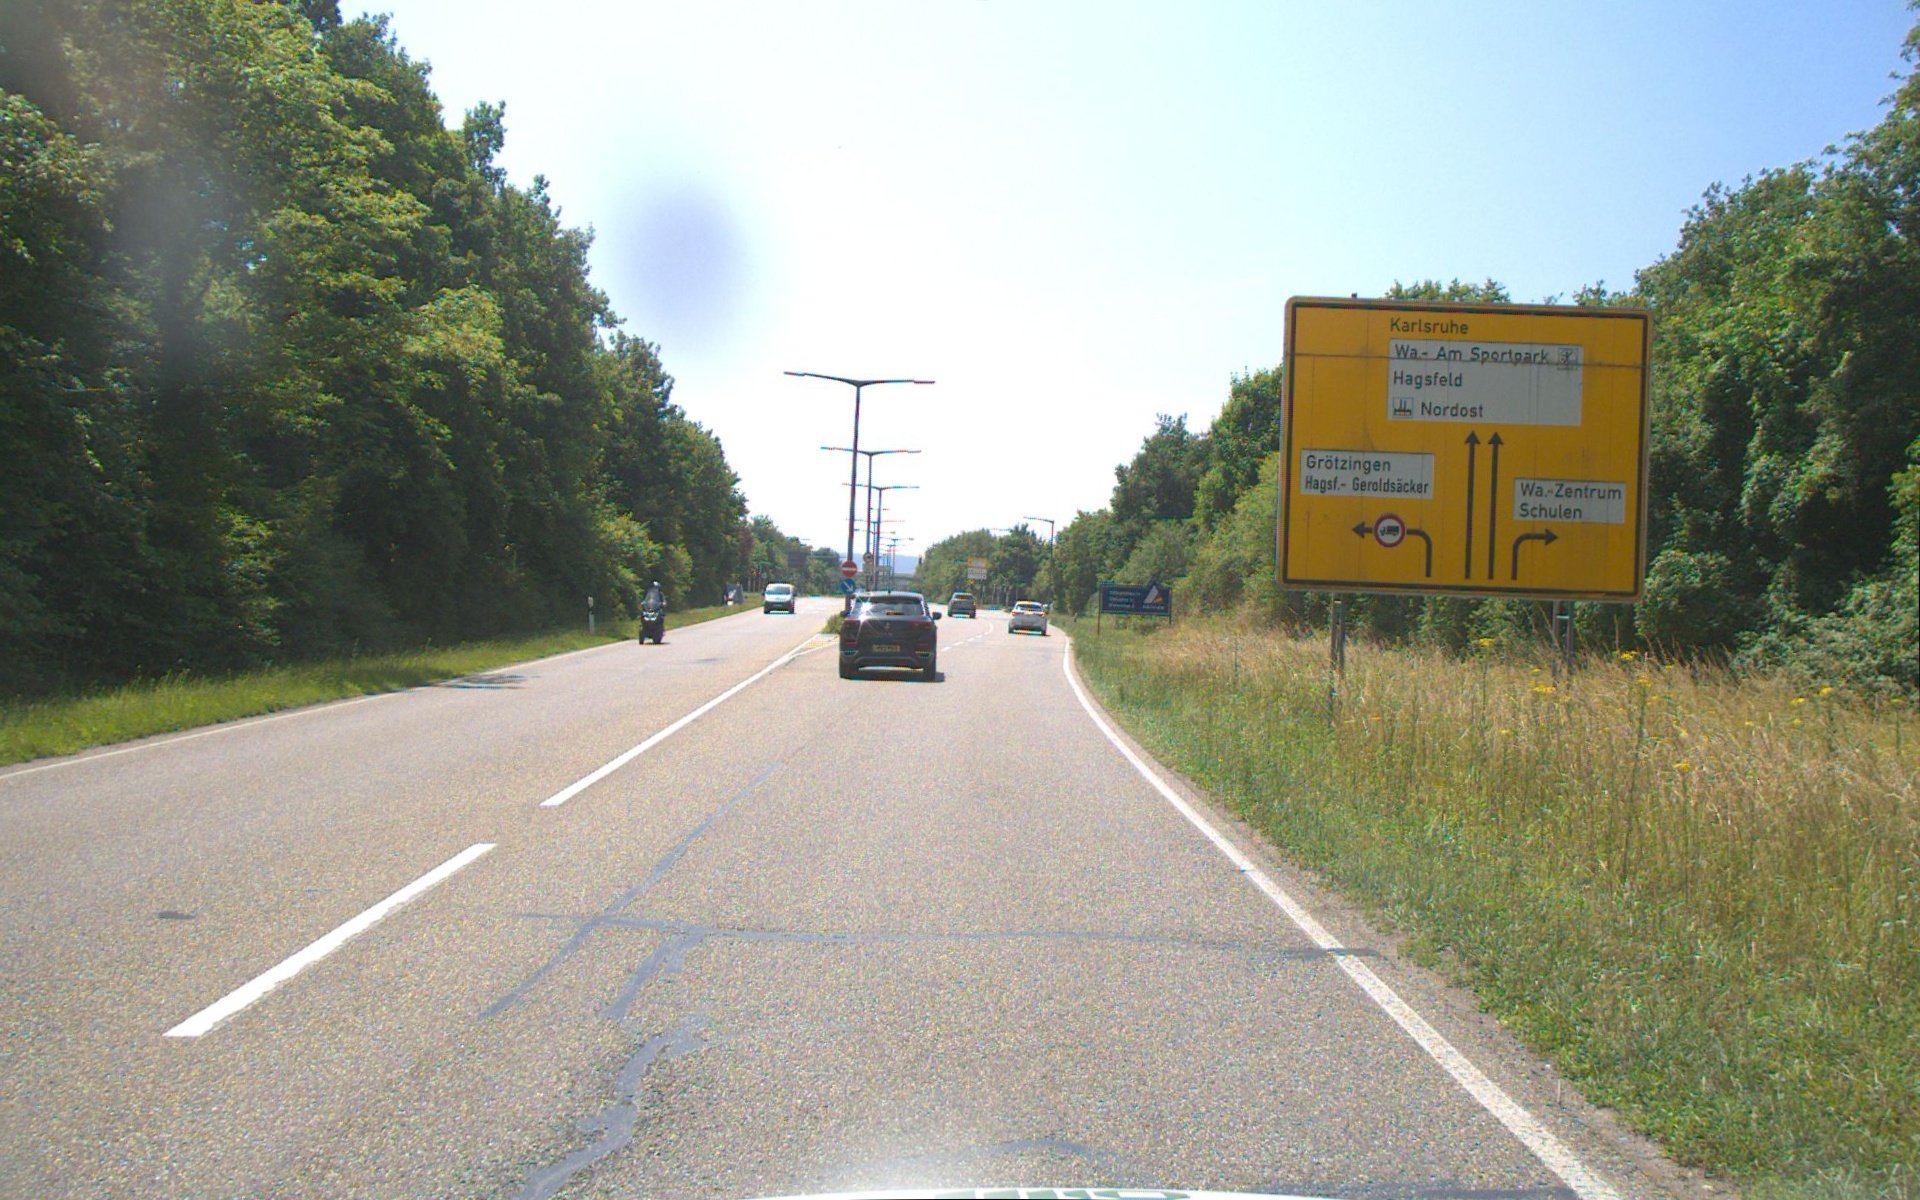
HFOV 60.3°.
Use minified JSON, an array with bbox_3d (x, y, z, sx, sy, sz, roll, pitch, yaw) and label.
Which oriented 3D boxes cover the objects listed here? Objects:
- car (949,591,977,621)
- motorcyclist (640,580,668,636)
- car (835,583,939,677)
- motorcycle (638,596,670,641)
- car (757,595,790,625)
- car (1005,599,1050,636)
[{"bbox_3d":[0.211,0.422,118.539,1.720,1.962,3.998,3,0,-3],"label":"car"},{"bbox_3d":[-8.428,0.221,45.601,0.657,1.501,0.813,1,0,-6],"label":"motorcyclist"},{"bbox_3d":[-1.416,0.527,30.795,1.721,1.583,3.996,2,0,-5],"label":"car"},{"bbox_3d":[-8.464,0.508,45.810,0.657,1.195,2.229,1,0,-5],"label":"motorcycle"},{"bbox_3d":[-10.980,0.591,97.595,1.697,1.717,4.092,0,0,-3],"label":"car"},{"bbox_3d":[3.064,0.768,75.418,1.761,1.611,3.999,1,0,-2],"label":"car"}]
